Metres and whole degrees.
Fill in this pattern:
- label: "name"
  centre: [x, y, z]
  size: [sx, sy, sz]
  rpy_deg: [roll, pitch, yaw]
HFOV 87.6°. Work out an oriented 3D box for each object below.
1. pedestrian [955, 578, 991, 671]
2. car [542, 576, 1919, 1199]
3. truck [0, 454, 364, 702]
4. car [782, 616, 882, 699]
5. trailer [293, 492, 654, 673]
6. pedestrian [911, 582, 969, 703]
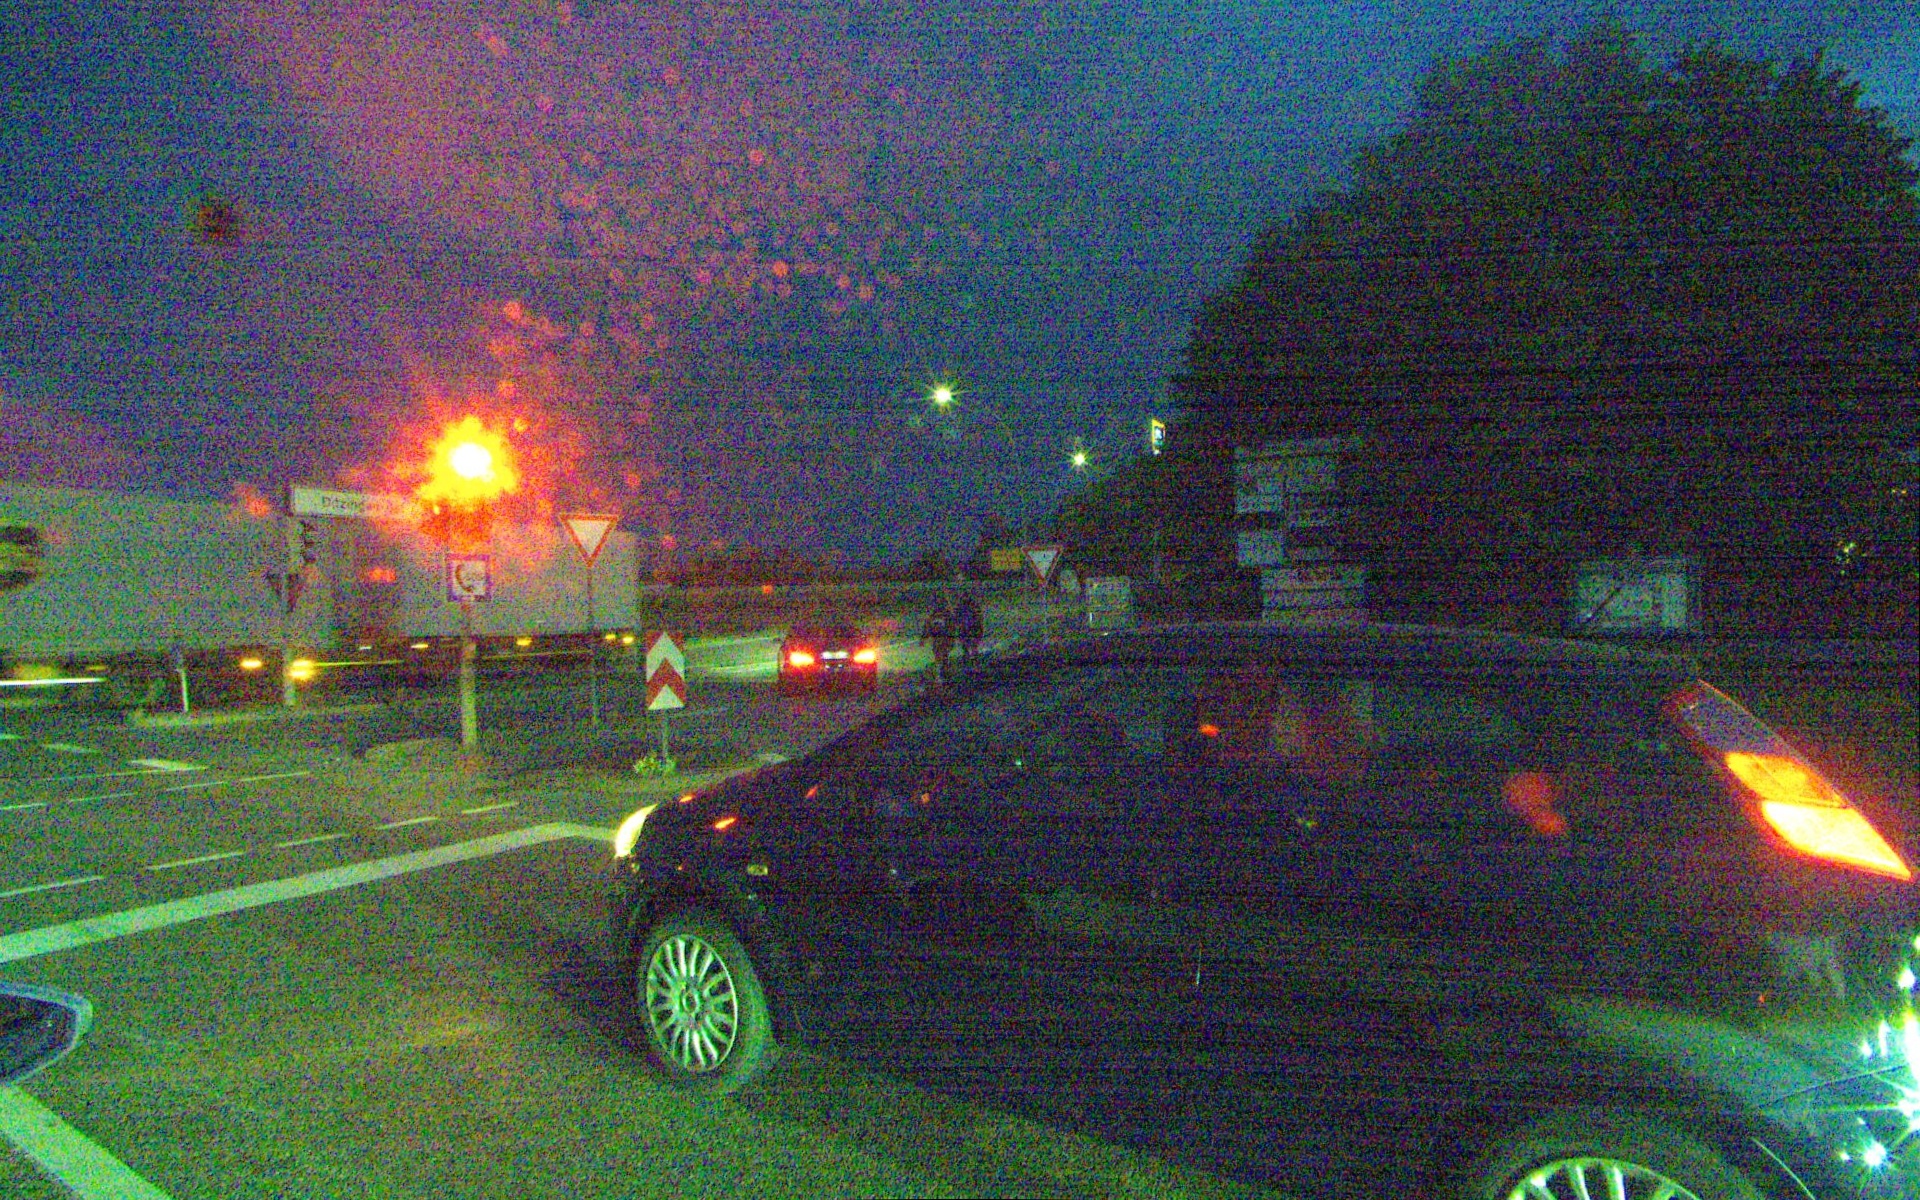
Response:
- label: "pedestrian"
  centre: [0.285, 0.543, 22.327]
  size: [0.700, 2.039, 0.781]
  rpy_deg: [0, -1, -6]
- label: "car"
  centre: [0.502, 0.788, 3.210]
  size: [3.663, 1.557, 1.655]
  rpy_deg: [-1, -1, 33]
- label: "truck"
  centre: [-16.873, -0.336, 18.384]
  size: [2.692, 4.171, 10.306]
  rpy_deg: [-1, -1, 27]
- label: "car"
  centre: [-2.673, 1.070, 20.176]
  size: [1.775, 1.461, 3.997]
  rpy_deg: [0, 0, -11]
- label: "trailer"
  centre: [-12.379, -0.432, 26.740]
  size: [2.545, 3.996, 8.839]
  rpy_deg: [0, 1, 28]
- label: "pedestrian"
  centre: [-0.345, 0.730, 17.413]
  size: [0.704, 2.039, 0.776]
  rpy_deg: [-1, -1, 33]
